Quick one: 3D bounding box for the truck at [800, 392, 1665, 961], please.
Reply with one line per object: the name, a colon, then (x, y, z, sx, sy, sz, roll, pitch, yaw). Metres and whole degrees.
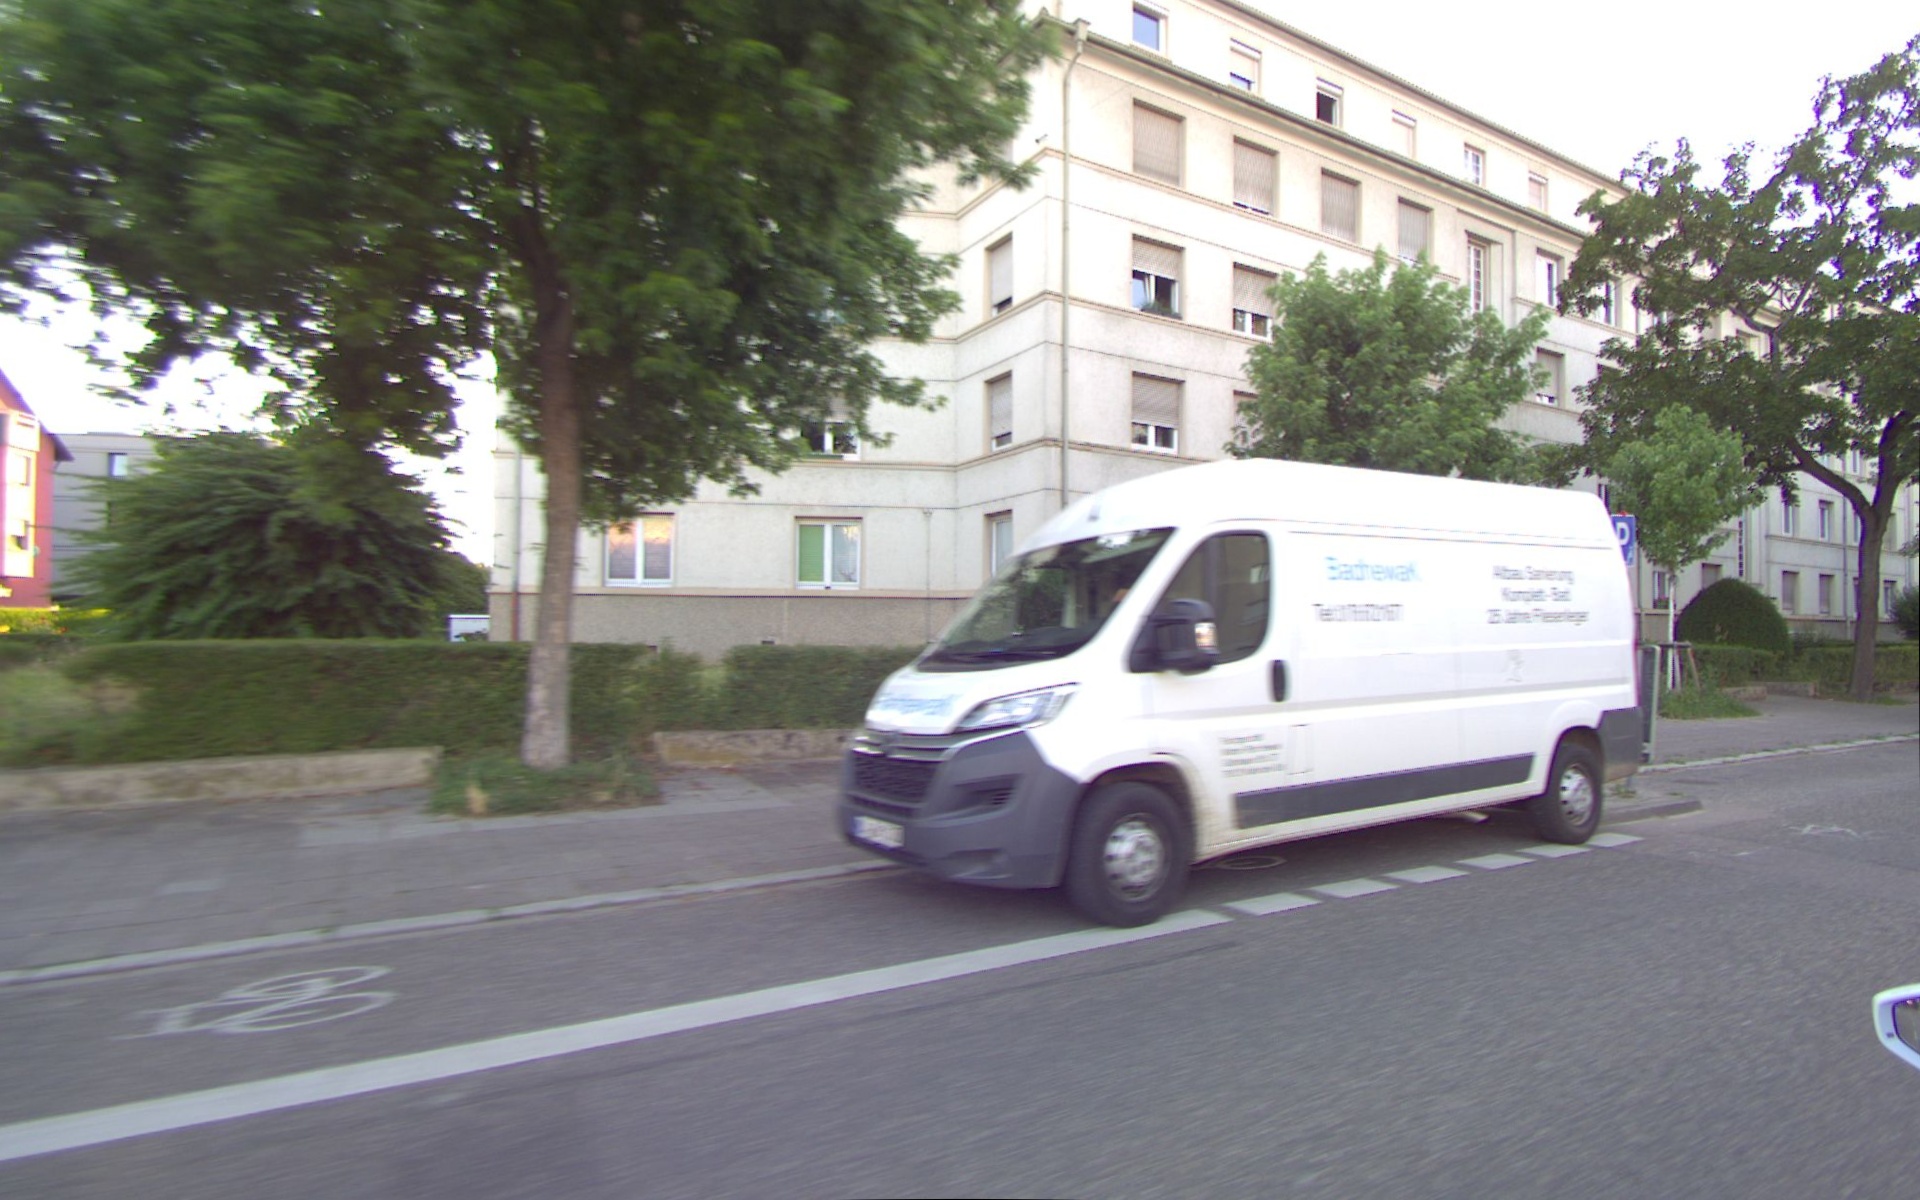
truck: (2.100, 0.434, 6.797, 5.977, 2.454, 2.091, 1, -3, -31)
